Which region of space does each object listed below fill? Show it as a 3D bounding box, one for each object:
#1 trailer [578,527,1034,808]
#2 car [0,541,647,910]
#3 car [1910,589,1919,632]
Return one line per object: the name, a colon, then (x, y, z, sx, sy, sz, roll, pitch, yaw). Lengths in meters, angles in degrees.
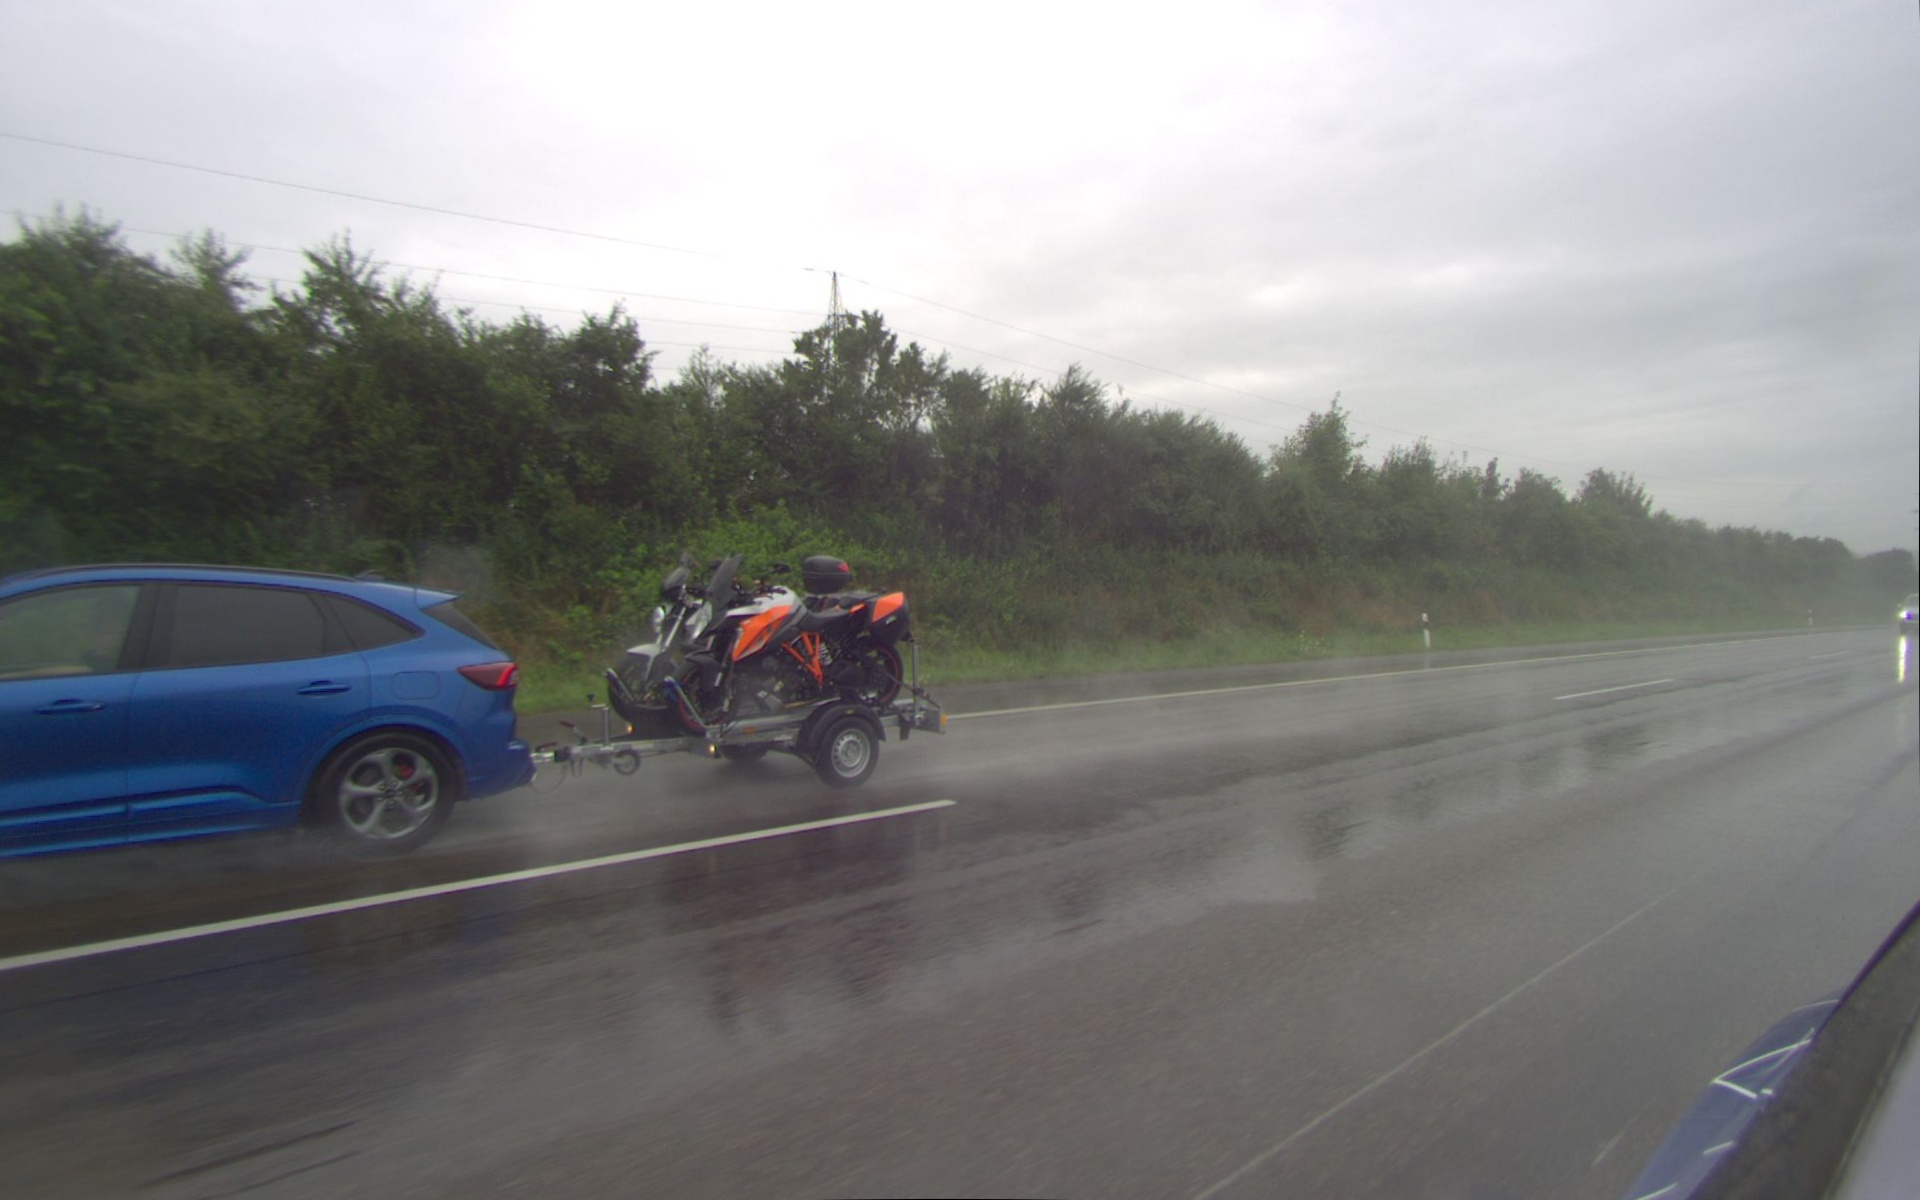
trailer: (-1.214, 0.412, 8.270, 3.131, 1.807, 1.983, -1, 1, -39)
car: (-4.491, 0.546, 5.609, 4.902, 1.639, 1.998, -1, 1, -39)
car: (47.919, 0.527, 49.321, 3.931, 2.039, 1.996, 1, -1, -42)
